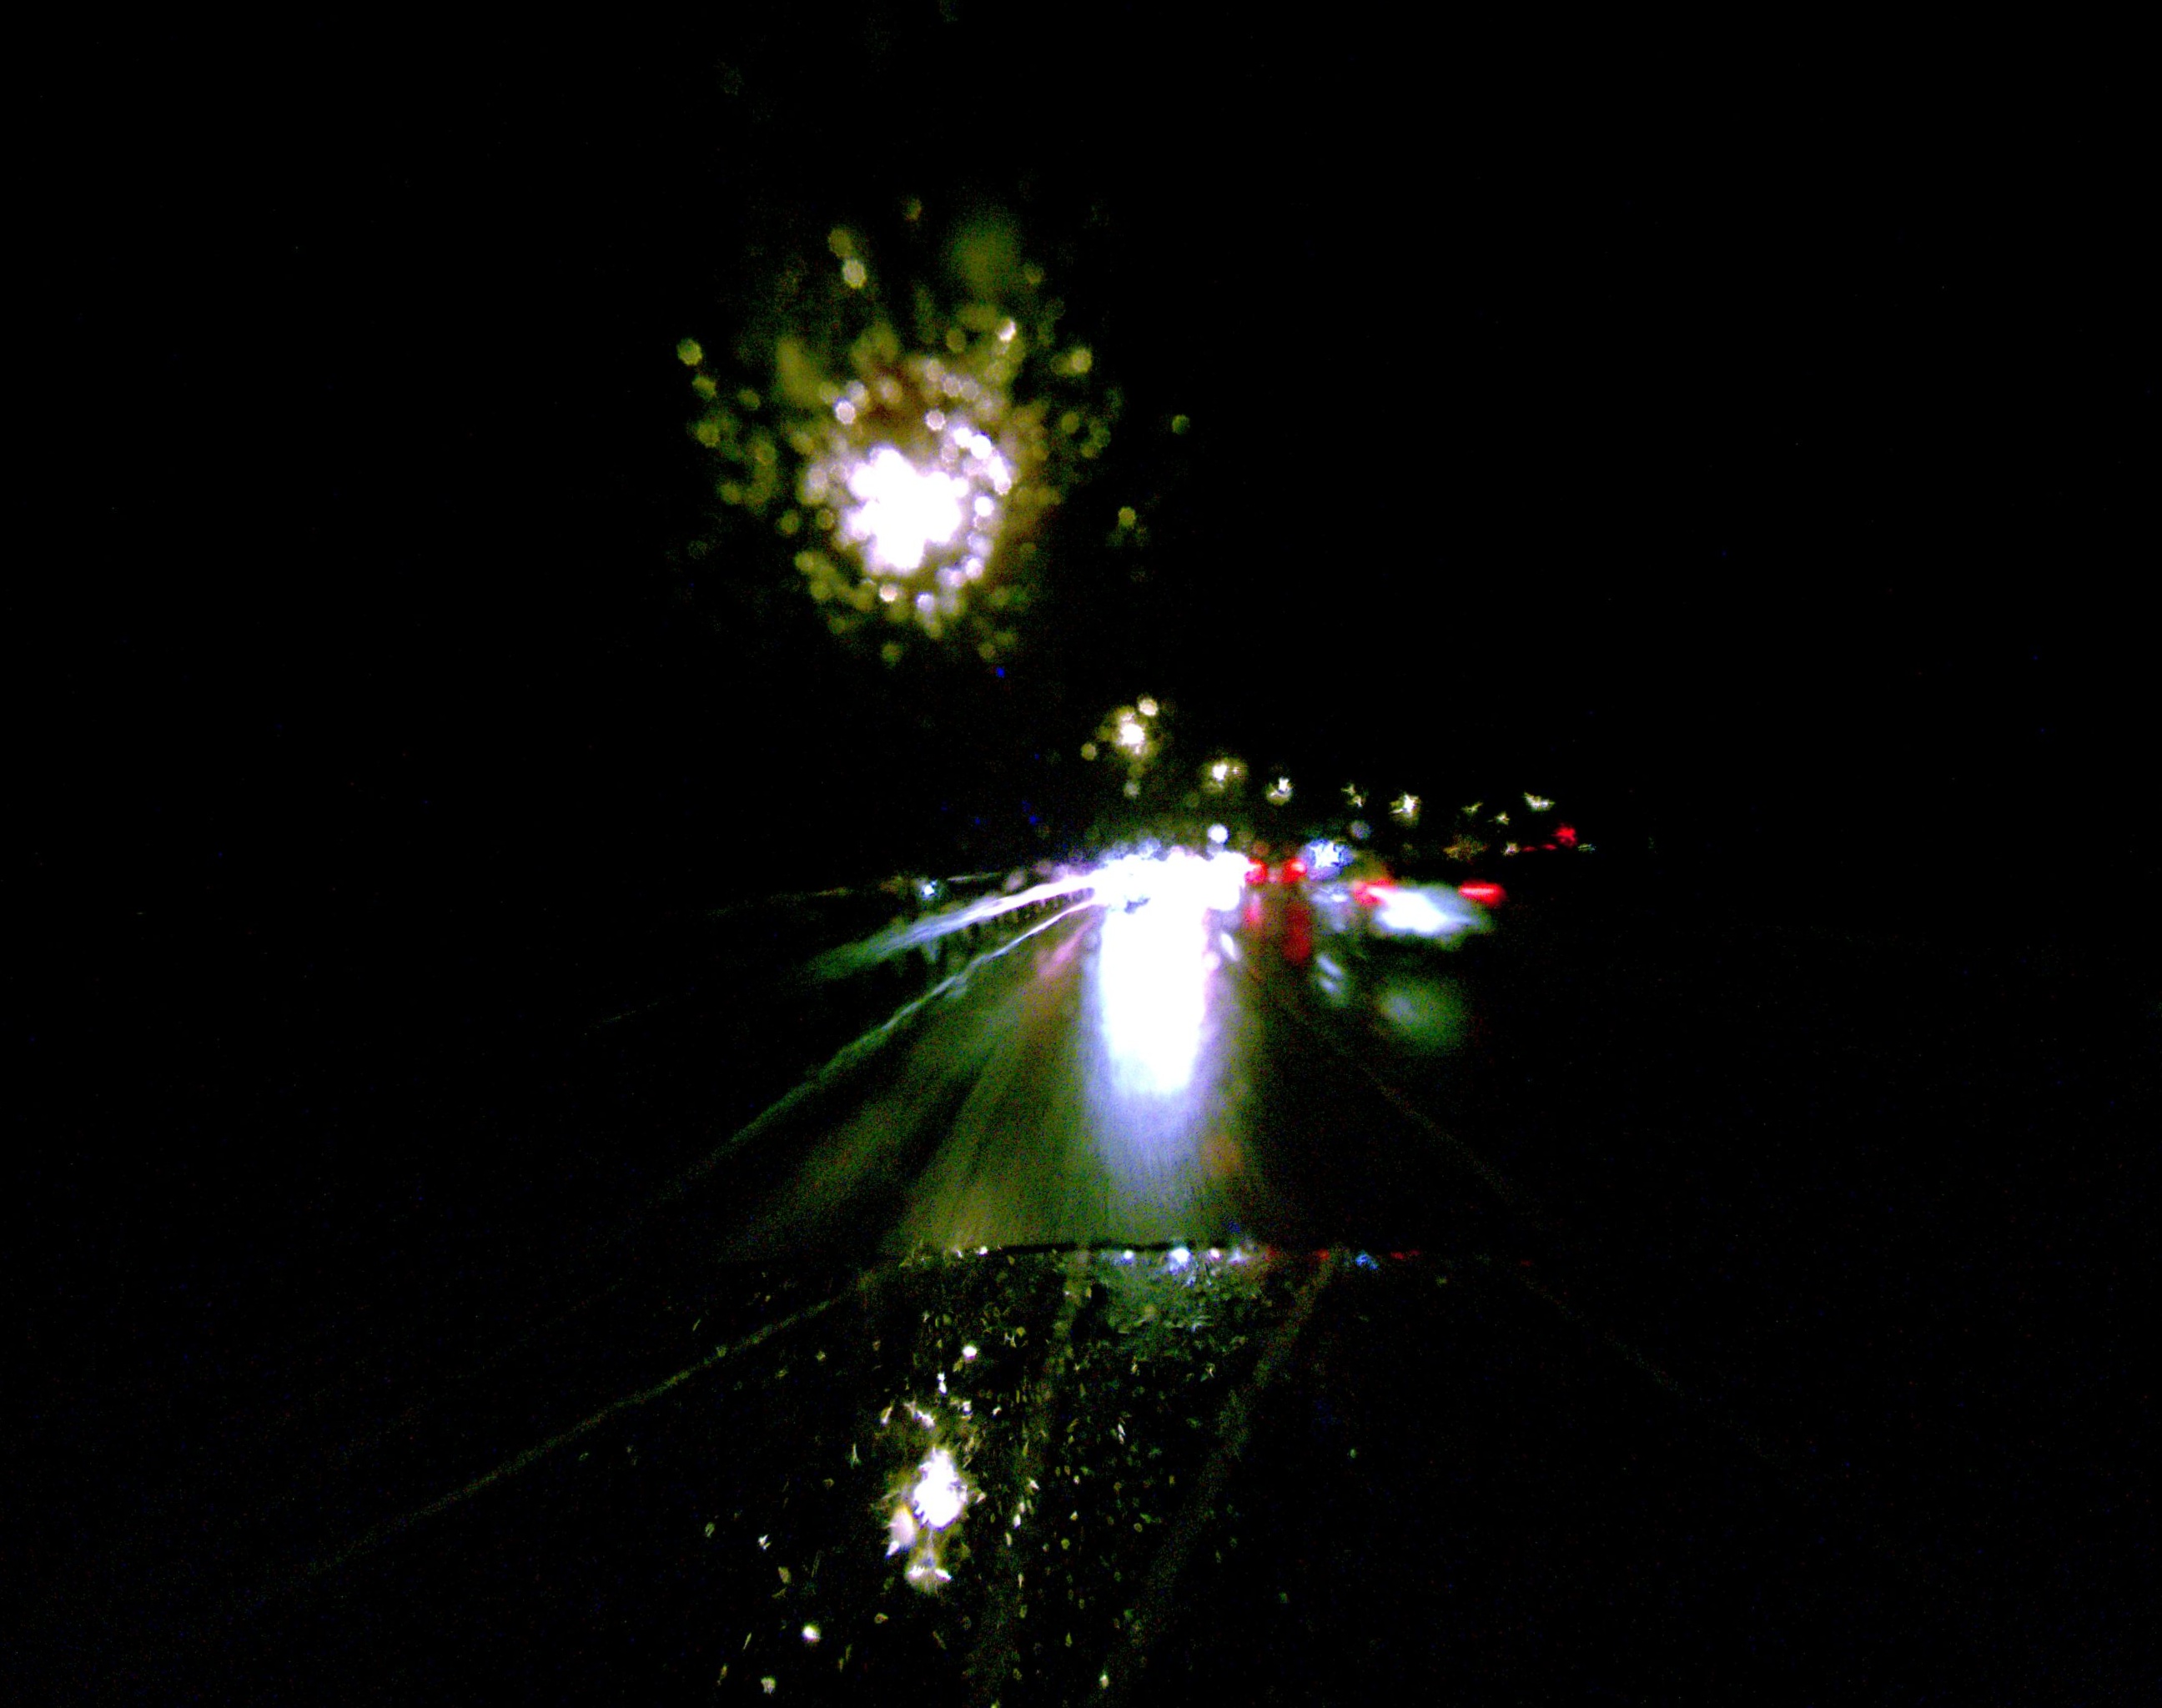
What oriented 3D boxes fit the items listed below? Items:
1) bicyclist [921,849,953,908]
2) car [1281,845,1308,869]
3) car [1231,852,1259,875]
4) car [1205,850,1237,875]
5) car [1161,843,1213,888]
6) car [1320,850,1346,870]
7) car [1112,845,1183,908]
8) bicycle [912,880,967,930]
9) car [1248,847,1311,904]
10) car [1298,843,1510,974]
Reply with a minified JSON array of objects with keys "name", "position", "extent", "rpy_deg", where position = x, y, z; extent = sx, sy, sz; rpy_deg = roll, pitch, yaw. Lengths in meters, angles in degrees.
[{"name":"bicyclist","position":[-3.389,0.561,17.919],"extent":[0.453,1.341,0.765],"rpy_deg":[-2,0,12]},{"name":"car","position":[21.095,0.351,74.983],"extent":[1.653,1.999,4.009],"rpy_deg":[-9,-6,26]},{"name":"car","position":[12.969,0.725,59.963],"extent":[1.303,1.520,3.050],"rpy_deg":[-9,-2,24]},{"name":"car","position":[9.134,0.545,49.417],"extent":[1.520,1.516,3.111],"rpy_deg":[-1,0,19]},{"name":"car","position":[5.229,0.535,37.094],"extent":[1.996,2.002,4.004],"rpy_deg":[-2,0,14]},{"name":"car","position":[29.253,0.744,87.996],"extent":[1.652,1.999,4.009],"rpy_deg":[-10,-7,32]},{"name":"car","position":[2.030,0.667,23.224],"extent":[1.927,1.704,4.241],"rpy_deg":[1,-1,5]},{"name":"bicycle","position":[-3.335,1.189,18.158],"extent":[0.485,1.028,2.173],"rpy_deg":[-2,1,11]},{"name":"car","position":[6.473,0.629,25.145],"extent":[1.781,1.694,4.317],"rpy_deg":[-1,1,12]},{"name":"car","position":[4.678,0.678,11.679],"extent":[1.796,1.621,3.993],"rpy_deg":[-2,1,4]}]
